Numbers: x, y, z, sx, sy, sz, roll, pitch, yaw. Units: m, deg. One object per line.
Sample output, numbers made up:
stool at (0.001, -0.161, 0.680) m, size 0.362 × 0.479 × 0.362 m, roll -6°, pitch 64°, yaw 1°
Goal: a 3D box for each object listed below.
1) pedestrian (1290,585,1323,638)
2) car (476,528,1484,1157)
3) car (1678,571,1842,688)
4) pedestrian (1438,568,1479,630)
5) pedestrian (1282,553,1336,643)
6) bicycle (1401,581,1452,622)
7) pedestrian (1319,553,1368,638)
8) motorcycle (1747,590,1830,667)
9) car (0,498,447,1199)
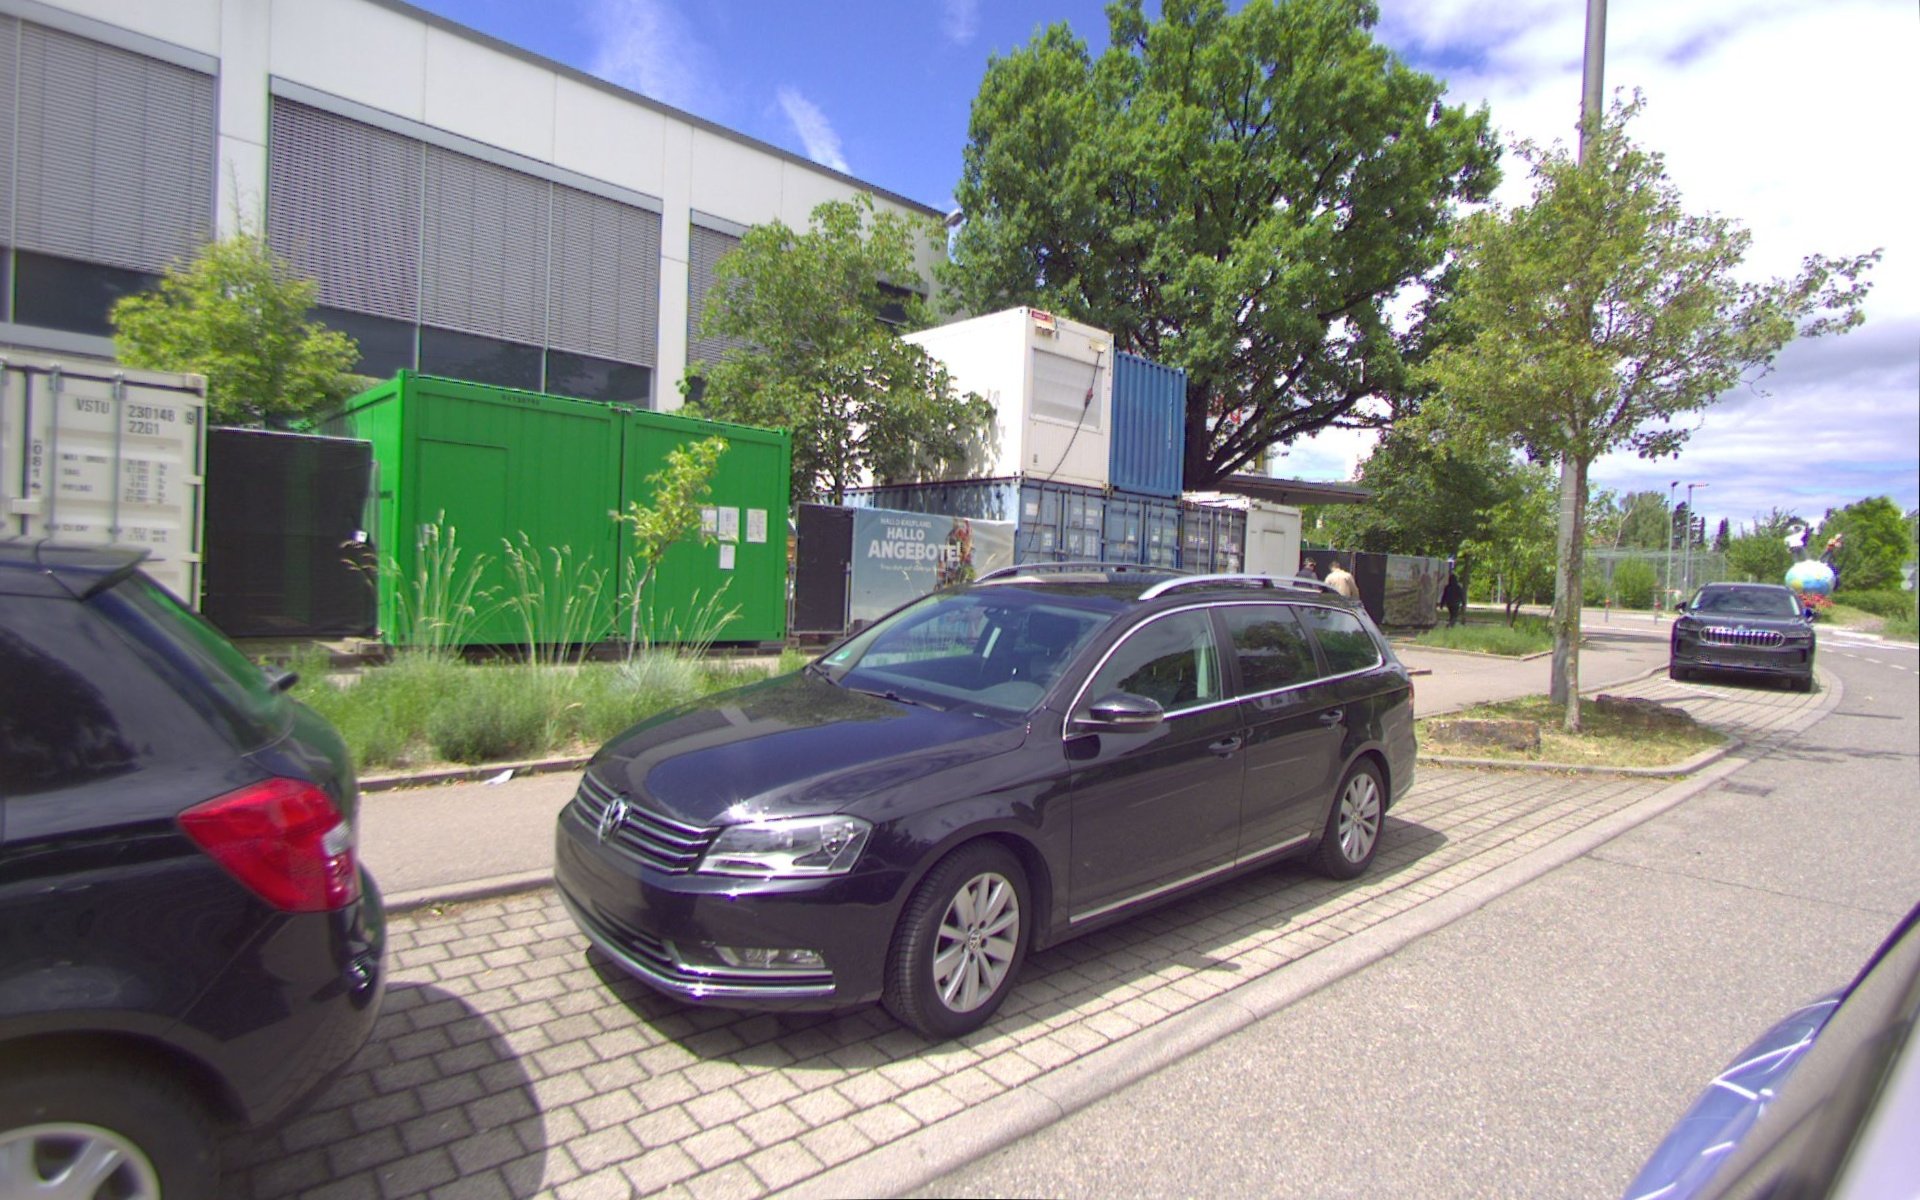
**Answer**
pedestrian at (7.194, 0.223, 21.032) m, size 0.557 × 1.071 × 0.412 m, roll 0°, pitch 2°, yaw -43°
car at (0.572, 0.544, 4.788) m, size 4.852 × 1.494 × 1.768 m, roll -1°, pitch 5°, yaw -43°
car at (13.661, 0.386, 17.315) m, size 1.876 × 1.641 × 4.778 m, roll 5°, pitch 4°, yaw 39°
pedestrian at (13.572, -0.048, 27.532) m, size 0.755 × 1.638 × 0.743 m, roll 0°, pitch 2°, yaw -43°
pedestrian at (6.828, -0.053, 19.801) m, size 0.830 × 1.718 × 0.652 m, roll 0°, pitch 2°, yaw -43°
bicycle at (13.846, 0.031, 29.995) m, size 1.755 × 1.169 × 0.452 m, roll 0°, pitch 1°, yaw -31°
pedestrian at (7.941, -0.109, 20.952) m, size 0.712 × 1.717 × 0.651 m, roll 0°, pitch 2°, yaw -43°
motorcycle at (16.307, 0.515, 19.977) m, size 1.069 × 1.321 × 2.230 m, roll 6°, pitch 4°, yaw 37°
car at (-3.090, 0.542, 1.470) m, size 3.929 × 1.511 × 1.572 m, roll 0°, pitch 3°, yaw -40°
